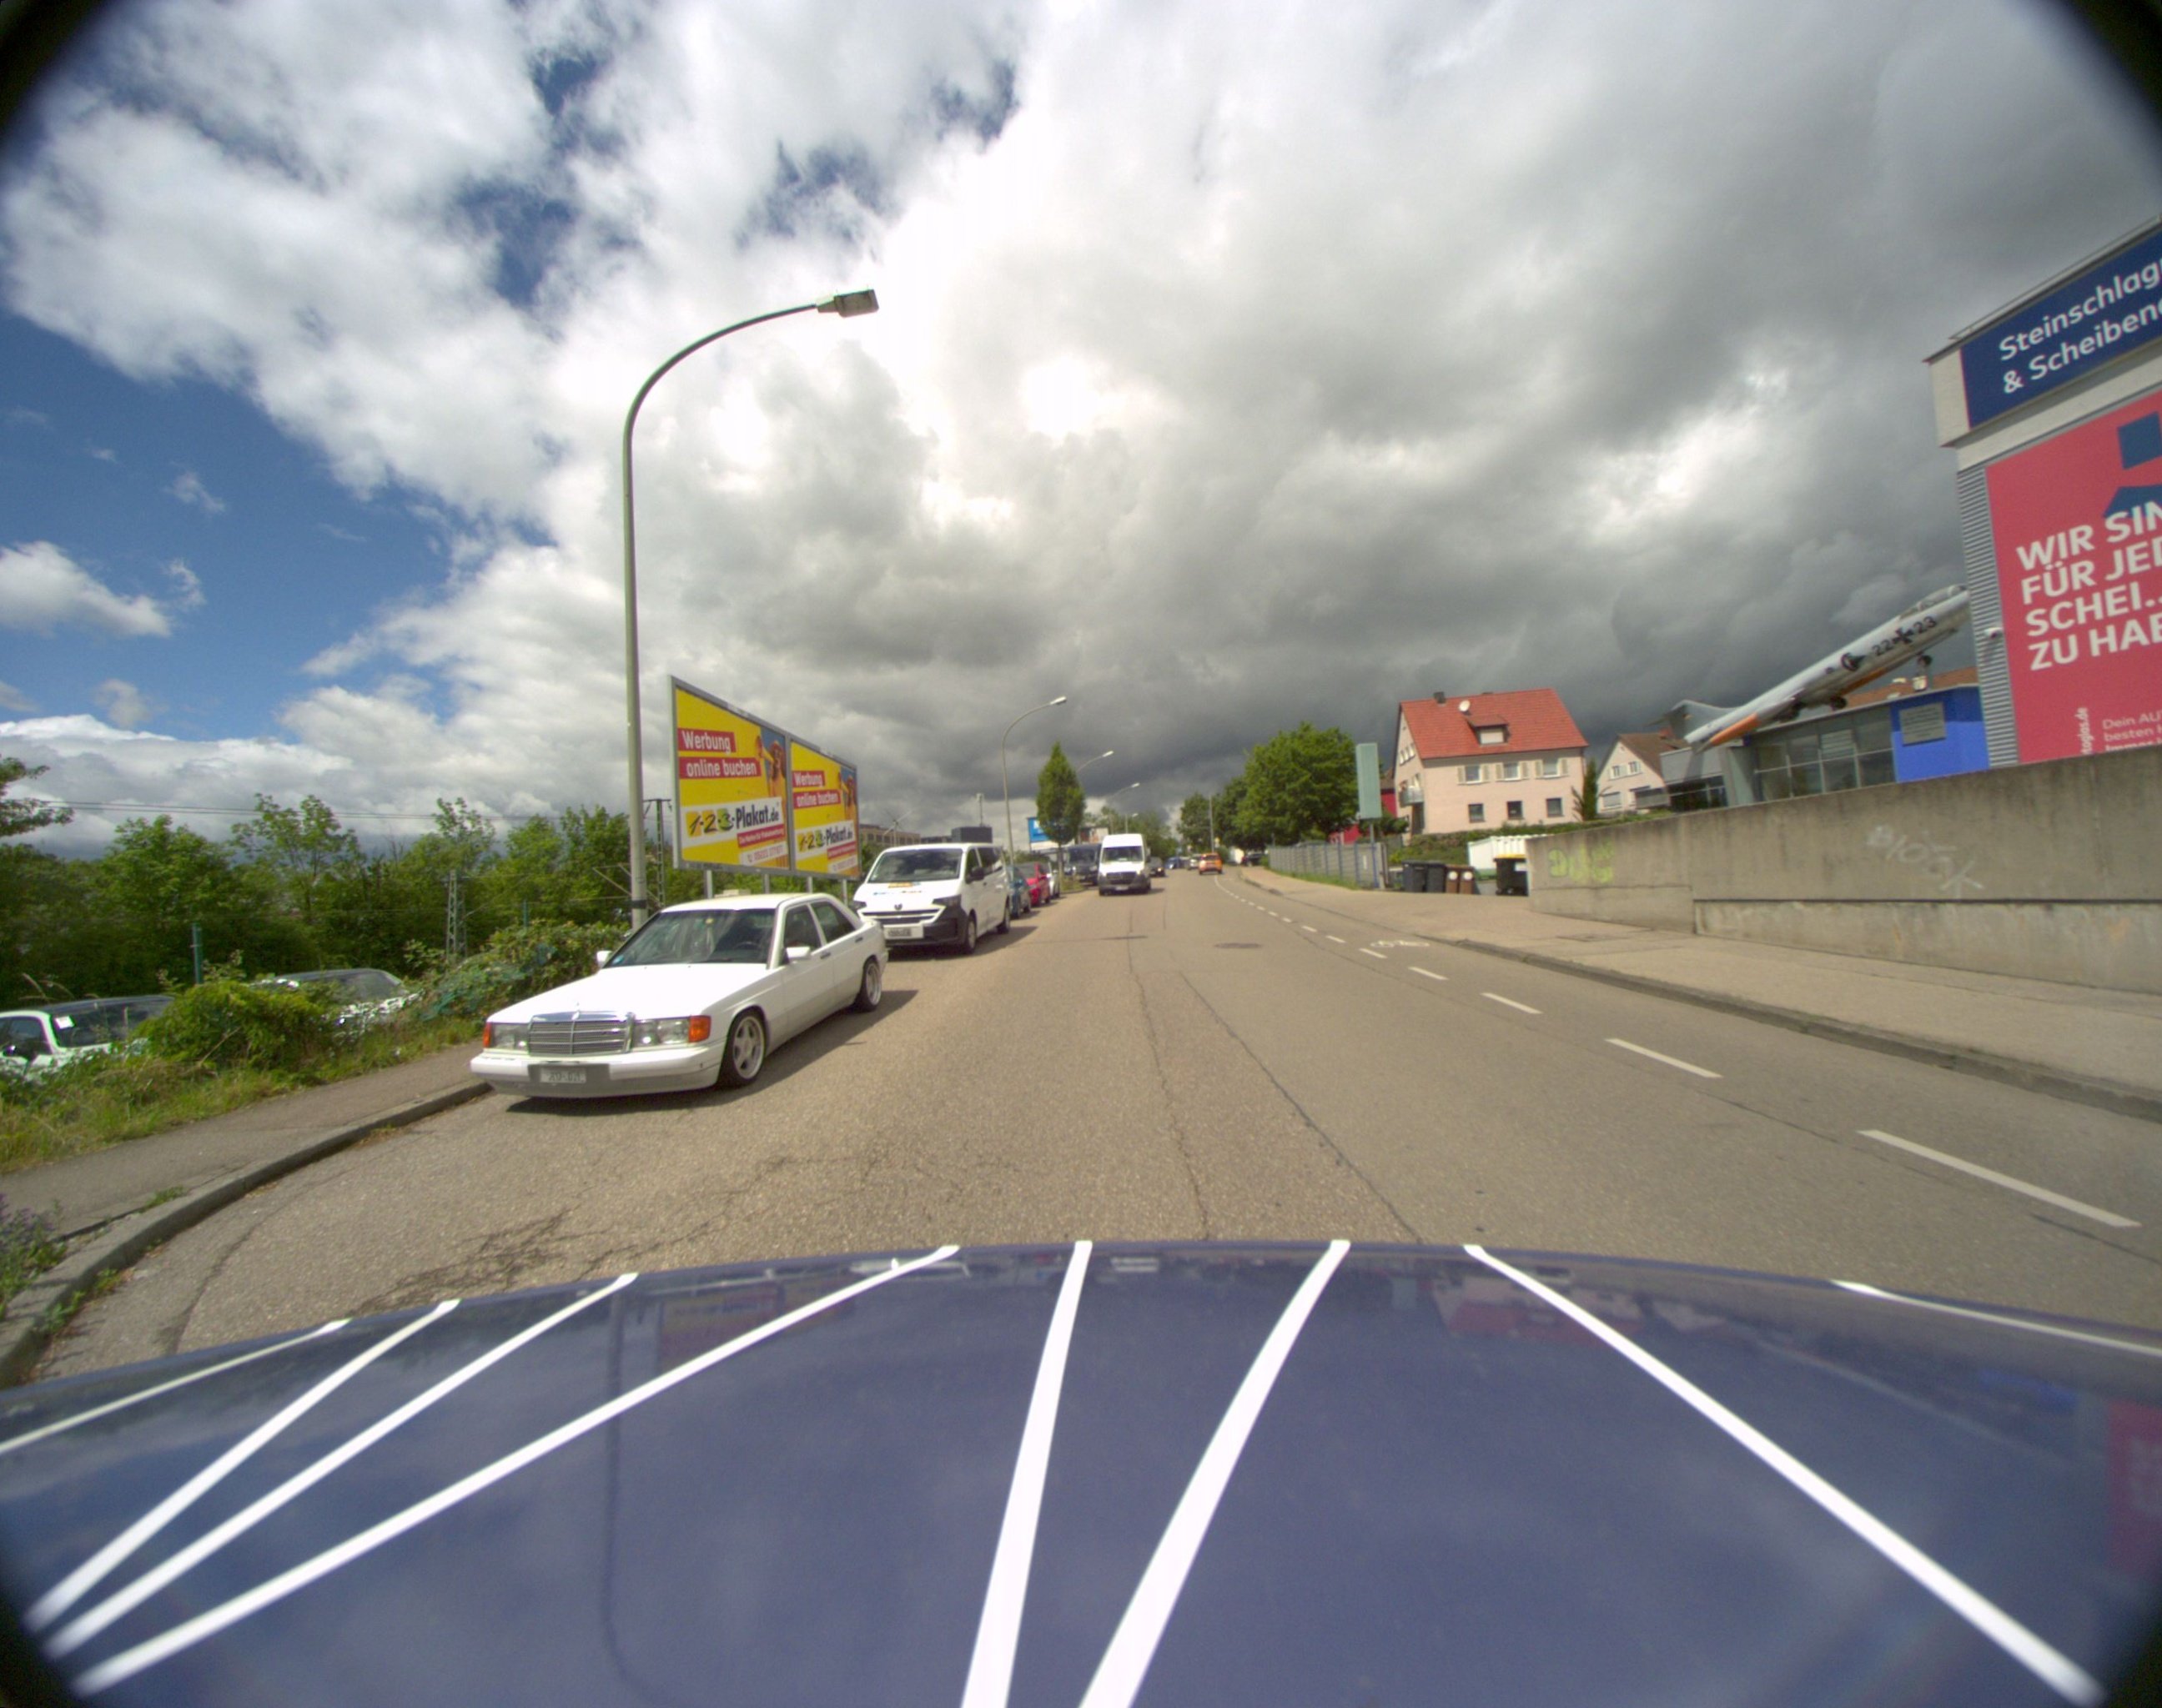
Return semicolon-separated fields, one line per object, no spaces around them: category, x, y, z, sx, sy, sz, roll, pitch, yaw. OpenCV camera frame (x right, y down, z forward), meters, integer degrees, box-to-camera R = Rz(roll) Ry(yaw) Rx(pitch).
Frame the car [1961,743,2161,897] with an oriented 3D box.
car;12.344;-0.402;7.714;1.811;1.627;4.110;-3;0;-6

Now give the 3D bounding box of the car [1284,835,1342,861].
car;17.798;-0.417;58.347;3.953;1.766;1.524;-3;0;4

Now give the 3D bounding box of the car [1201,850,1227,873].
car;9.789;0.523;55.752;1.603;1.482;3.685;-3;0;13

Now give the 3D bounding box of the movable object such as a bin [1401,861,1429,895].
movable object such as a bin;10.641;0.761;24.225;0.664;1.074;0.517;1;0;4

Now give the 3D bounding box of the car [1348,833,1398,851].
car;27.287;-1.101;71.087;4.014;1.497;1.587;-3;0;11

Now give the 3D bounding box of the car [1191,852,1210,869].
car;11.735;0.590;74.845;1.646;1.523;4.224;-3;0;7

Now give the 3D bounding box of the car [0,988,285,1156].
car;-13.055;2.713;9.940;3.993;1.589;1.795;-3;0;13

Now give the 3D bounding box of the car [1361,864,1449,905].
car;17.662;1.642;41.564;3.995;2.002;1.852;-3;0;7

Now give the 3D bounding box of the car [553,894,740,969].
car;-11.133;1.939;19.944;1.820;1.433;4.558;-3;0;7

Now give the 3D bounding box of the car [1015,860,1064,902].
car;-1.633;1.052;30.781;1.596;1.514;2.859;-3;0;4

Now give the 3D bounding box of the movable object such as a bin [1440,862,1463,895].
movable object such as a bin;11.808;0.775;24.248;0.503;1.054;0.498;1;0;4

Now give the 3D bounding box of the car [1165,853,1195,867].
car;15.857;0.949;121.646;5.140;1.957;1.957;-3;0;-43

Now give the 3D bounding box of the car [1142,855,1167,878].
car;5.144;0.870;53.544;1.584;1.497;3.958;-3;0;3

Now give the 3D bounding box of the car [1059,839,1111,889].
car;0.301;0.516;43.271;2.058;2.579;5.738;-3;0;8

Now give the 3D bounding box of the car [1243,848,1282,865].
car;18.697;0.258;78.407;3.853;1.497;1.587;-3;0;11

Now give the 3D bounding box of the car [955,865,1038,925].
car;-2.322;1.097;21.819;1.596;1.442;3.980;-3;0;4

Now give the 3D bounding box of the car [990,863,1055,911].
car;-1.965;1.095;26.411;1.596;1.473;3.501;-3;0;5

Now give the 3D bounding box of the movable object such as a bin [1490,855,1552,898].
movable object such as a bin;13.759;0.682;23.807;1.223;1.299;1.232;1;0;4

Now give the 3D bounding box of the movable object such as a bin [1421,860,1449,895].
movable object such as a bin;11.246;0.743;24.144;0.664;1.074;0.517;1;0;4

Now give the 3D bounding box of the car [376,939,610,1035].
car;-11.672;2.595;15.437;1.575;1.252;3.713;-3;0;6

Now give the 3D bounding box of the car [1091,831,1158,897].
car;2.050;0.378;33.399;2.081;2.575;6.067;-3;0;10

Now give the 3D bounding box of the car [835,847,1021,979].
car;-2.647;0.942;14.793;1.979;1.992;5.549;-3;0;5

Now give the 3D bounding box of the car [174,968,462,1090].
car;-12.322;2.713;12.296;3.992;1.482;1.648;-3;0;19

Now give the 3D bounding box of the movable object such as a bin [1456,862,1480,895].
movable object such as a bin;12.314;0.773;24.178;0.516;1.039;0.517;1;0;4

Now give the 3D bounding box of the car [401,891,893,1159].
car;-3.172;1.152;6.716;1.641;1.379;4.206;-3;0;4
